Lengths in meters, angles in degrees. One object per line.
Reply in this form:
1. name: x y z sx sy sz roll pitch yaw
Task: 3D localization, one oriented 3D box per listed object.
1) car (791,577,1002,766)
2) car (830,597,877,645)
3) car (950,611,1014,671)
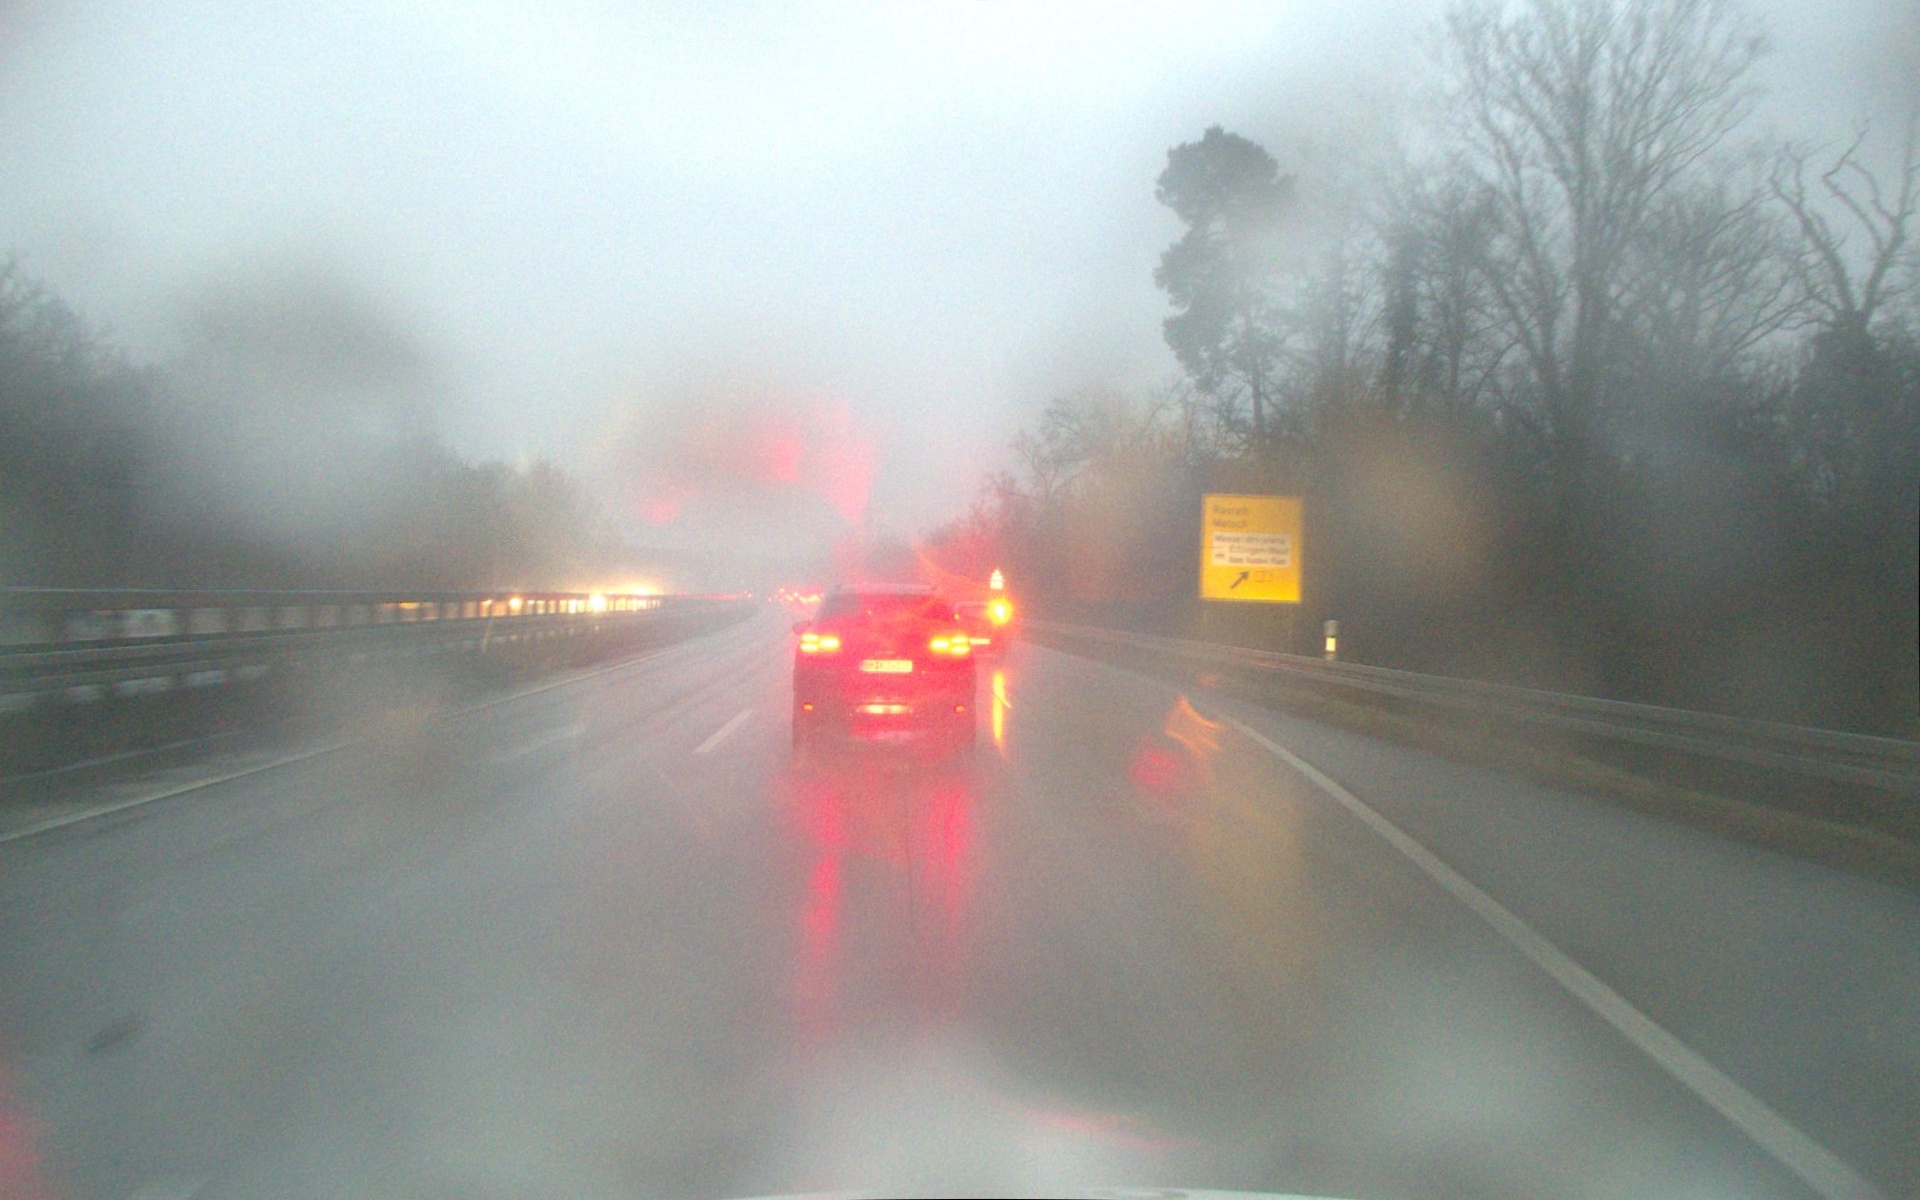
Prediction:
1. car: -0.681 0.679 17.408 1.952 1.745 3.828 1 0 -3
2. car: -4.734 0.923 73.881 1.953 2.049 3.998 1 0 -2
3. car: 0.531 1.015 42.120 1.537 1.433 3.645 1 0 -1
